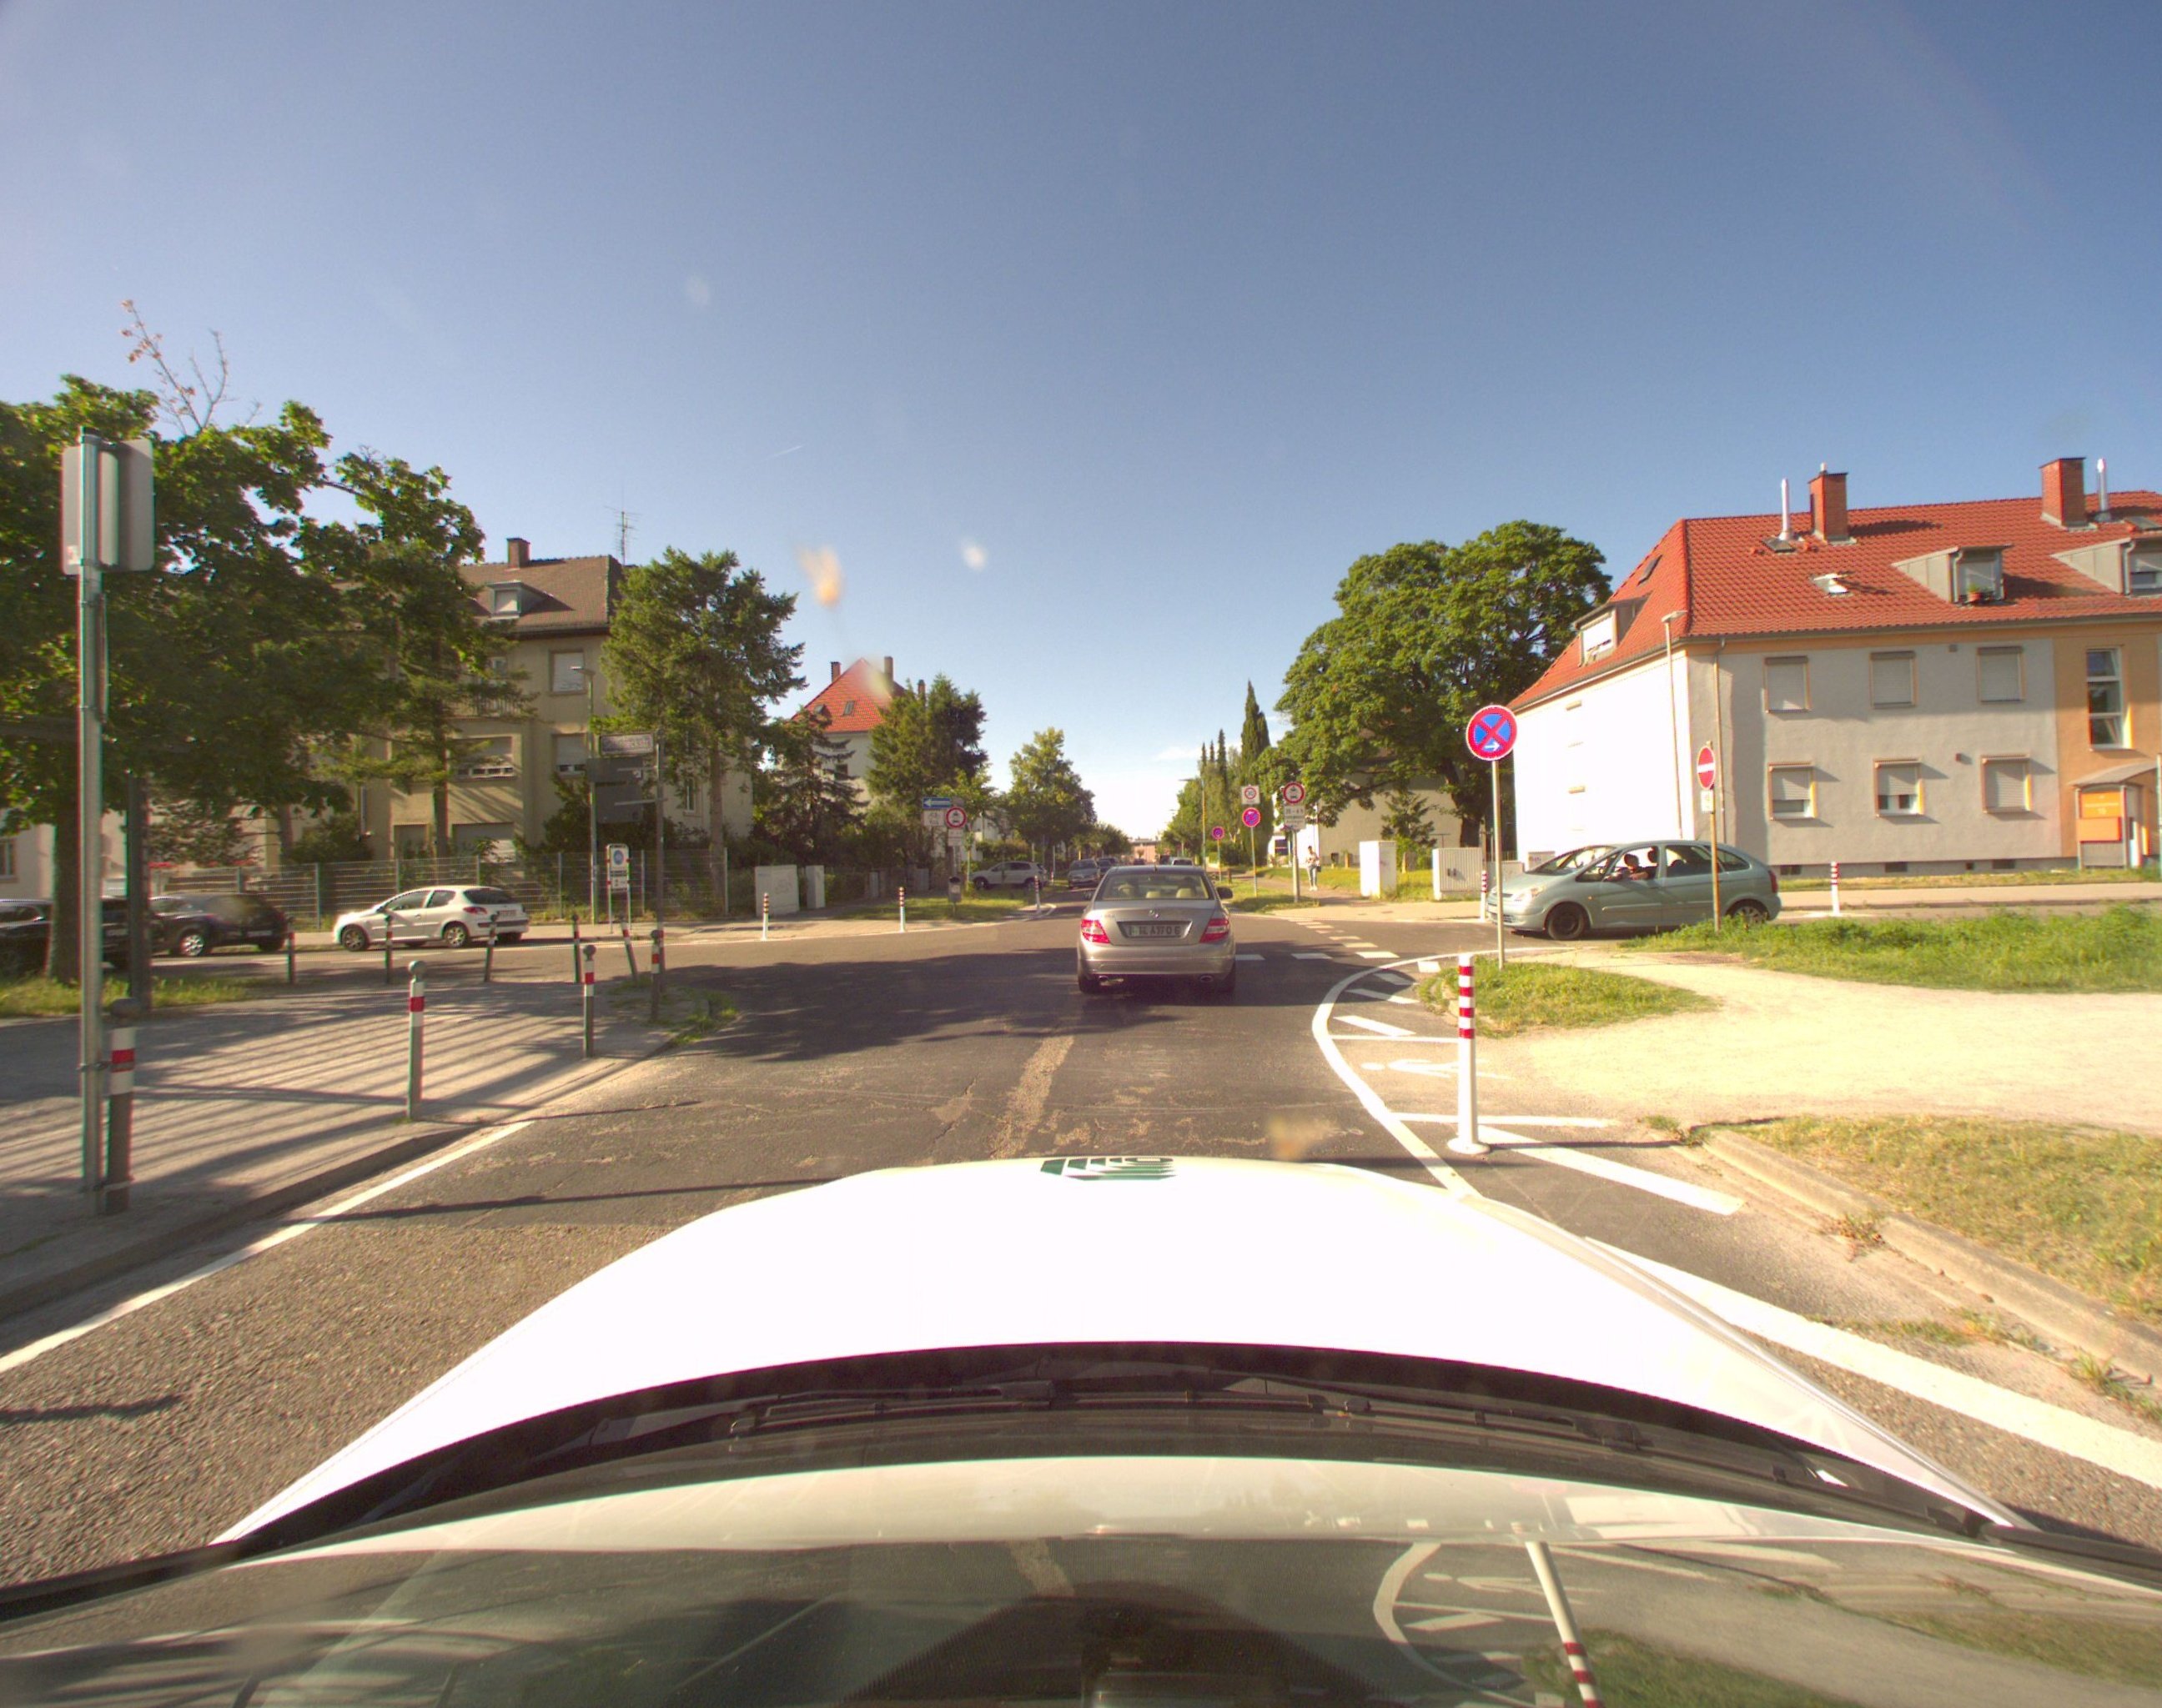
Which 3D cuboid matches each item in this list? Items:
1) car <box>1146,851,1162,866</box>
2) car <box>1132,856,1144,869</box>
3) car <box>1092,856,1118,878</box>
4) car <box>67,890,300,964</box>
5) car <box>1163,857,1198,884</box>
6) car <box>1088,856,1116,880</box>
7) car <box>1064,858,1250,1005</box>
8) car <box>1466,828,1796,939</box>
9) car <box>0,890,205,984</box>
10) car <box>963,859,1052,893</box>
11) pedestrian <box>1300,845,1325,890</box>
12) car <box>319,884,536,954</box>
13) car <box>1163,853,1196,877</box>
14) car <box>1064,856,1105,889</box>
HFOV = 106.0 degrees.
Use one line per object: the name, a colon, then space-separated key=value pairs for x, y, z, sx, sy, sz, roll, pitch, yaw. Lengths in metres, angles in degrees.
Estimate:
car: x=9.254 y=0.576 z=103.022 sx=1.846 sy=1.841 sz=4.004 roll=-2 pitch=0 yaw=4
car: x=8.043 y=1.184 z=115.115 sx=1.591 sy=1.609 sz=3.646 roll=-2 pitch=0 yaw=3
car: x=2.091 y=1.052 z=69.099 sx=1.986 sy=1.609 sz=4.003 roll=-5 pitch=0 yaw=2
car: x=-21.055 y=1.693 z=19.194 sx=3.796 sy=1.495 sz=1.679 roll=-2 pitch=-2 yaw=4
car: x=5.755 y=0.941 z=47.490 sx=1.726 sy=1.480 sz=3.727 roll=-2 pitch=0 yaw=3
car: x=1.683 y=1.032 z=63.313 sx=1.986 sy=1.609 sz=4.003 roll=-5 pitch=0 yaw=2
car: x=0.952 y=0.793 z=10.161 sx=1.827 sy=1.441 sz=4.006 roll=-1 pitch=0 yaw=6
car: x=9.063 y=0.471 z=13.756 sx=4.213 sy=1.608 sz=1.891 roll=-2 pitch=0 yaw=5
car: x=-20.056 y=1.579 z=15.449 sx=4.722 sy=1.524 sz=2.001 roll=-2 pitch=0 yaw=2
car: x=-3.629 y=1.086 z=40.625 sx=4.177 sy=1.564 sz=1.843 roll=-1 pitch=-1 yaw=1
pedestrian: x=8.592 y=0.489 z=30.262 sx=0.761 sy=1.611 sz=0.836 roll=-2 pitch=-1 yaw=9
car: x=-15.156 y=1.478 z=19.002 sx=3.747 sy=1.398 sz=1.709 roll=-2 pitch=-1 yaw=4
car: x=6.989 y=0.770 z=58.245 sx=1.985 sy=1.610 sz=4.003 roll=-2 pitch=0 yaw=2
car: x=0.268 y=1.003 z=45.536 sx=1.986 sy=1.609 sz=4.003 roll=-5 pitch=0 yaw=2
